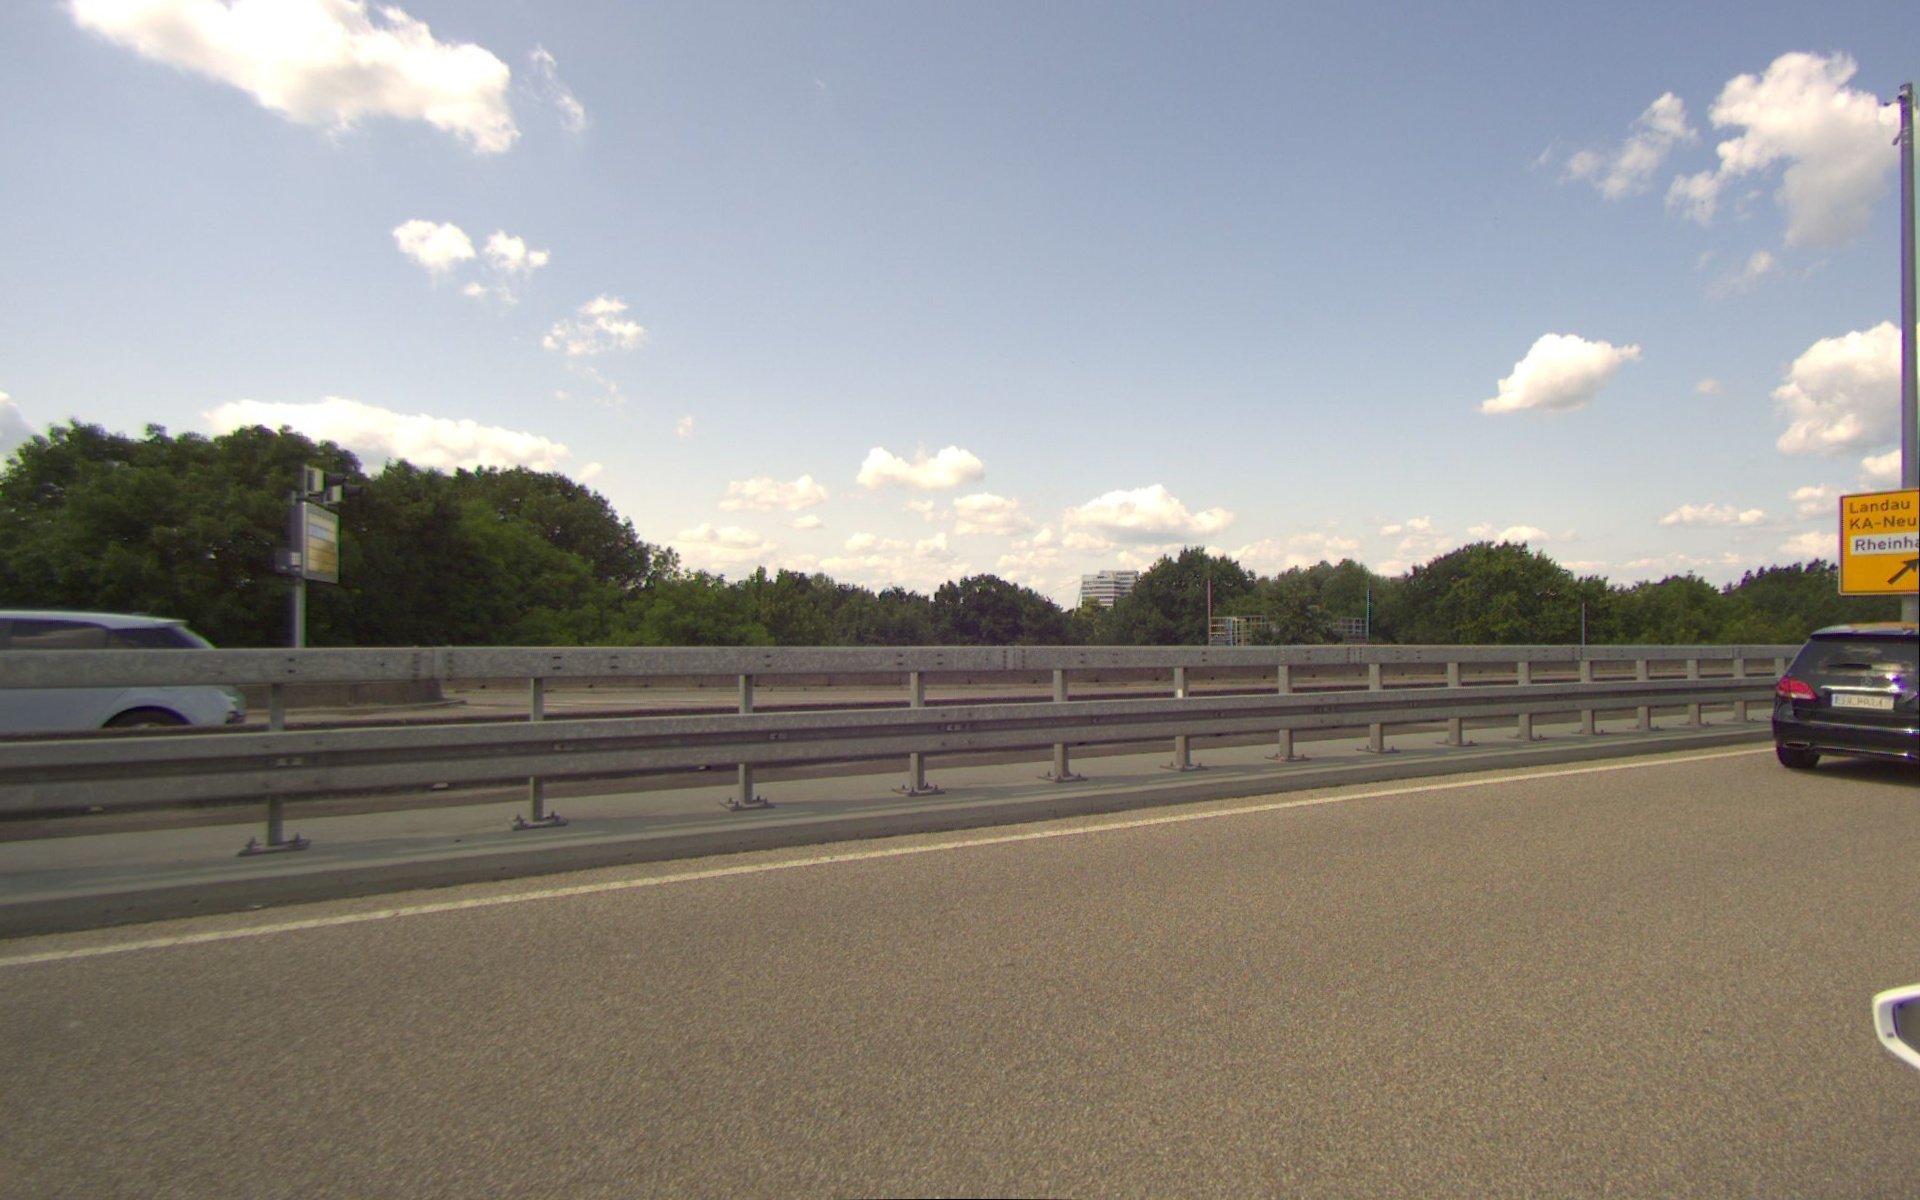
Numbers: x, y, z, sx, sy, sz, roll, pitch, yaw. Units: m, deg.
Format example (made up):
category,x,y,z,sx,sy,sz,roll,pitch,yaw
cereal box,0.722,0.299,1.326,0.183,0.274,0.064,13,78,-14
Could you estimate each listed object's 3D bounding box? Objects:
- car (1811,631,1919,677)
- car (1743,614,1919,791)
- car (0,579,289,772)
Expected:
category,x,y,z,sx,sy,sz,roll,pitch,yaw
car,35.161,2.054,38.965,4.656,1.617,1.789,1,0,-30
car,10.296,0.967,10.571,4.539,1.548,1.703,1,0,-31
car,-8.399,0.593,8.714,4.197,1.549,1.891,1,0,-33
